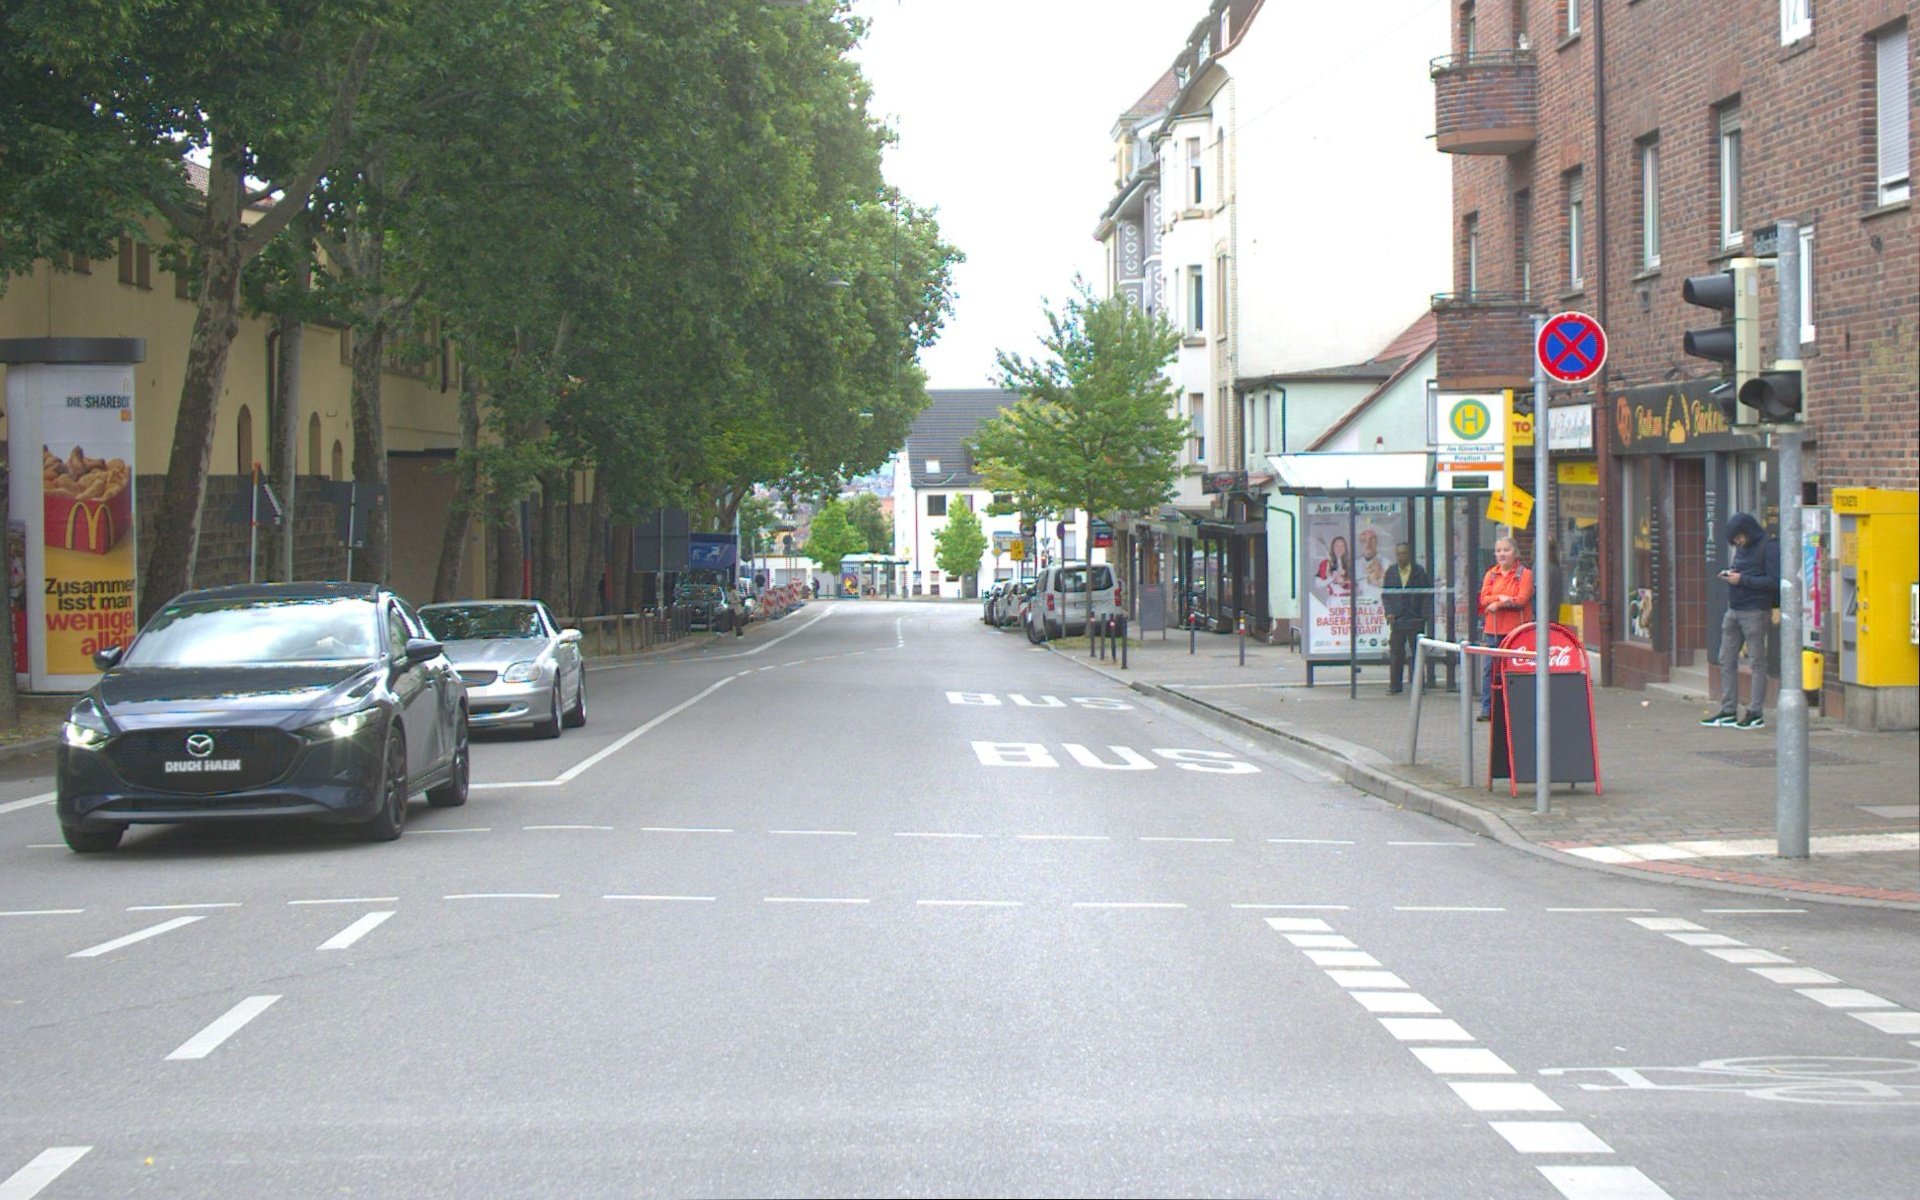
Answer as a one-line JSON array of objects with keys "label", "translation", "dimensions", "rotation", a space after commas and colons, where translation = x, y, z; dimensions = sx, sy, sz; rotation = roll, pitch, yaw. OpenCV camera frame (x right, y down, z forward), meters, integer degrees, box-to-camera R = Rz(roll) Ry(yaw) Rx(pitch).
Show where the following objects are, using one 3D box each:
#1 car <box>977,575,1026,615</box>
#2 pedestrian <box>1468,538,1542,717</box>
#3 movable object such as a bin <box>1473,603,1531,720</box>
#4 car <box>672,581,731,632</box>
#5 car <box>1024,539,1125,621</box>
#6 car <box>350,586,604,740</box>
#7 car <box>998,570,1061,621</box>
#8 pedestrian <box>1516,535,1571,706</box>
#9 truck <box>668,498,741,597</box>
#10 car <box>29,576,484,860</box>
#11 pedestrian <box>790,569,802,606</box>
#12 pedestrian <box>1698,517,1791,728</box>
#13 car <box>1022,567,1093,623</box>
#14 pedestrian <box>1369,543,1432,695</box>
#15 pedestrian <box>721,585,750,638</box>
[{"label": "car", "translation": [1.633, -0.210, 137.488], "dimensions": [1.668, 1.542, 3.757], "rotation": [0, 1, -4]}, {"label": "pedestrian", "translation": [5.019, 0.245, 31.633], "dimensions": [0.565, 1.631, 0.680], "rotation": [0, 1, 19]}, {"label": "movable object such as a bin", "translation": [4.941, 0.557, 31.337], "dimensions": [0.453, 1.053, 0.410], "rotation": [0, 0, 19]}, {"label": "car", "translation": [-8.313, 0.193, 110.770], "dimensions": [1.834, 1.572, 3.757], "rotation": [0, 1, -4]}, {"label": "car", "translation": [2.766, -0.506, 84.105], "dimensions": [1.993, 1.929, 4.919], "rotation": [0, 1, -4]}, {"label": "car", "translation": [-4.443, 0.552, 32.138], "dimensions": [1.685, 1.271, 4.095], "rotation": [-3, 0, 1]}, {"label": "car", "translation": [2.153, -0.161, 107.506], "dimensions": [1.668, 1.542, 3.757], "rotation": [0, 1, -4]}, {"label": "pedestrian", "translation": [6.058, 0.209, 35.685], "dimensions": [0.479, 1.759, 0.458], "rotation": [0, 0, -1]}, {"label": "truck", "translation": [-8.889, -1.826, 120.047], "dimensions": [2.230, 3.335, 7.450], "rotation": [0, 1, -2]}, {"label": "car", "translation": [-3.947, 0.597, 19.969], "dimensions": [1.703, 1.409, 4.192], "rotation": [-1, 1, 1]}, {"label": "pedestrian", "translation": [-8.750, -0.663, 183.390], "dimensions": [0.633, 2.007, 0.784], "rotation": [0, 1, 1]}, {"label": "pedestrian", "translation": [6.548, 0.181, 28.714], "dimensions": [0.647, 1.744, 0.778], "rotation": [0, 1, 4]}, {"label": "car", "translation": [2.763, -0.168, 97.882], "dimensions": [1.668, 1.542, 3.757], "rotation": [0, 1, -4]}, {"label": "pedestrian", "translation": [5.021, 0.211, 39.213], "dimensions": [0.670, 1.722, 0.763], "rotation": [0, 1, 4]}, {"label": "pedestrian", "translation": [-6.596, 0.334, 101.024], "dimensions": [0.672, 1.531, 0.611], "rotation": [0, 1, -30]}]
